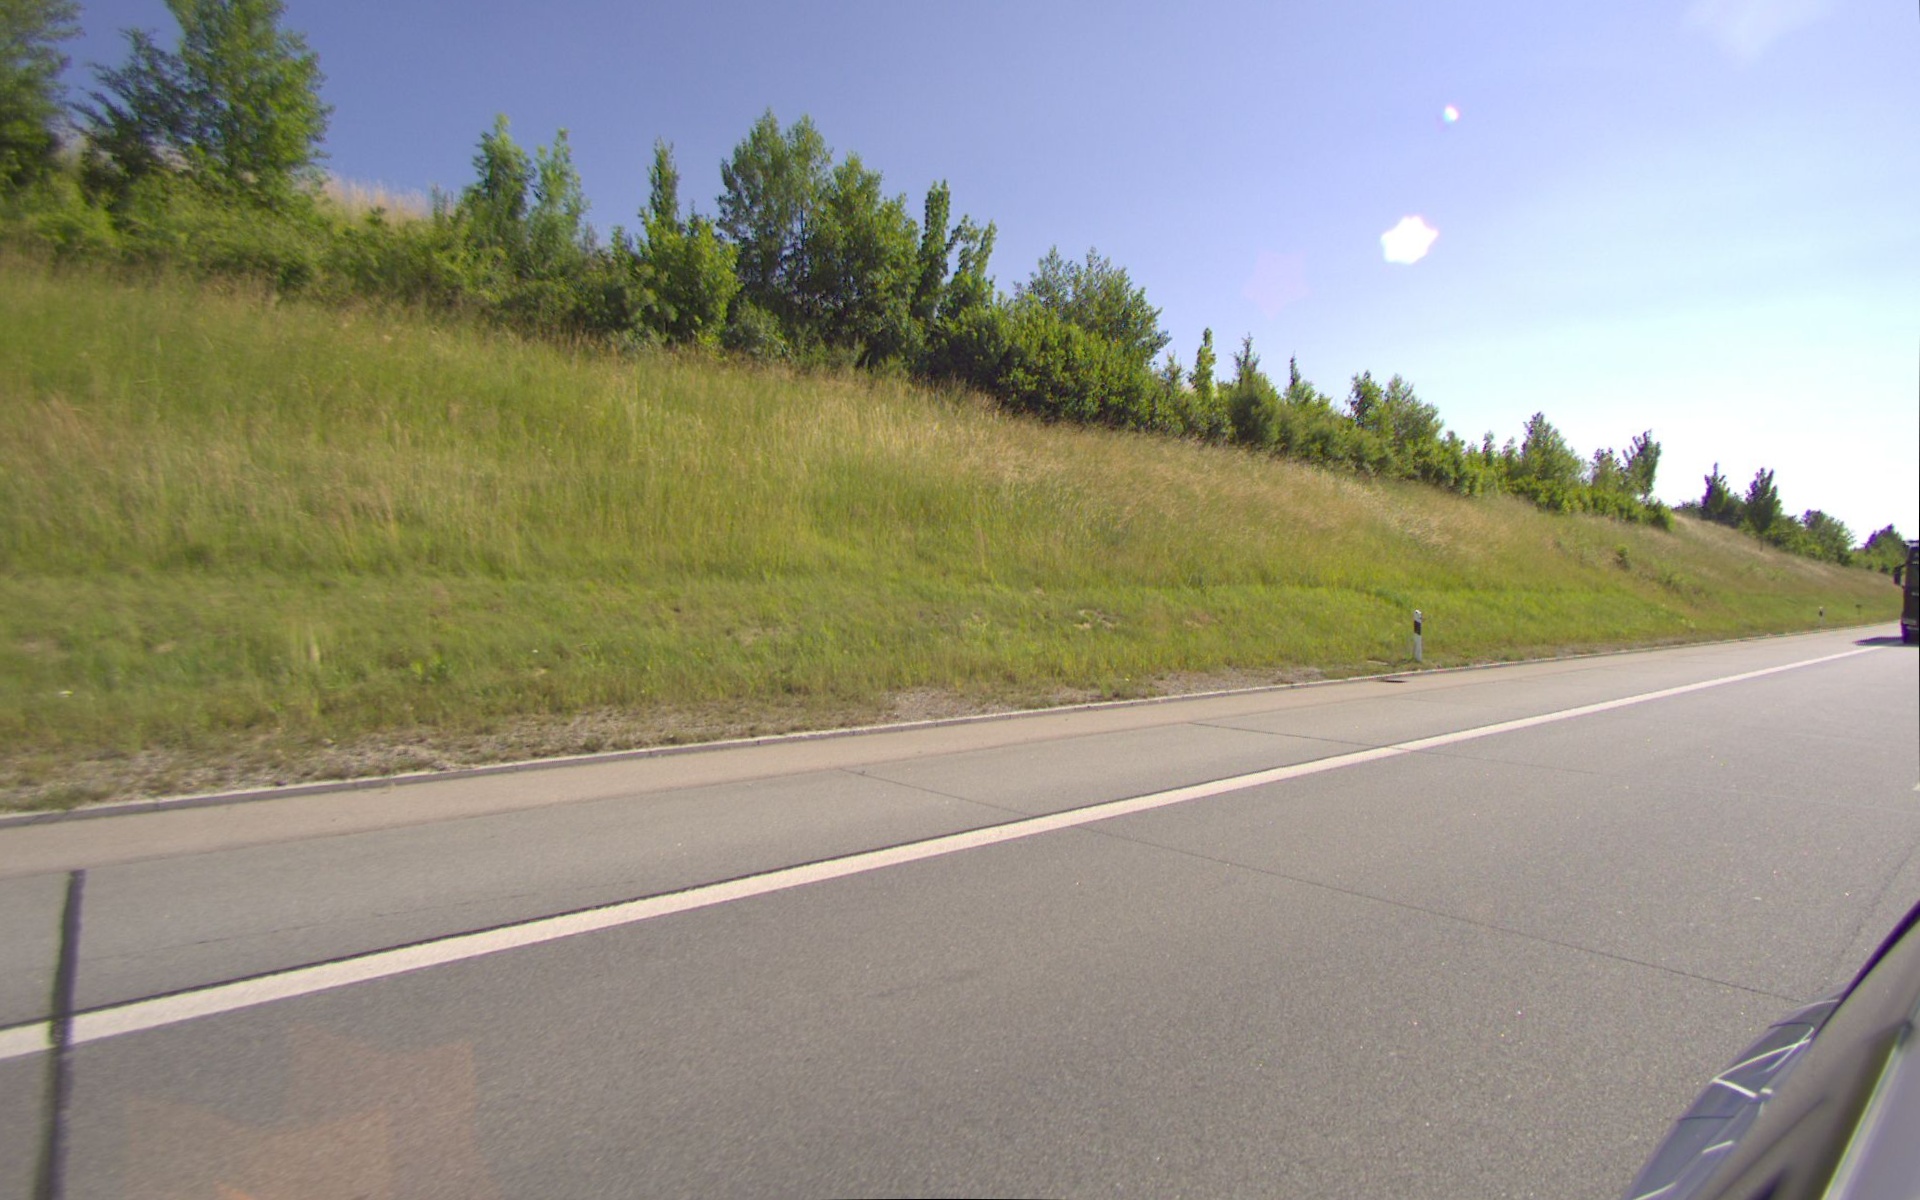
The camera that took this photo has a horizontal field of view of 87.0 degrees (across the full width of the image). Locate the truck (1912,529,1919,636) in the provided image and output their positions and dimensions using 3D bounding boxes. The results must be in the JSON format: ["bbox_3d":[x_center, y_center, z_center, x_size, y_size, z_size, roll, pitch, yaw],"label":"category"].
[{"bbox_3d":[40.213,-0.598,39.727,13.165,3.865,2.622,0,1,-40],"label":"truck"}]
